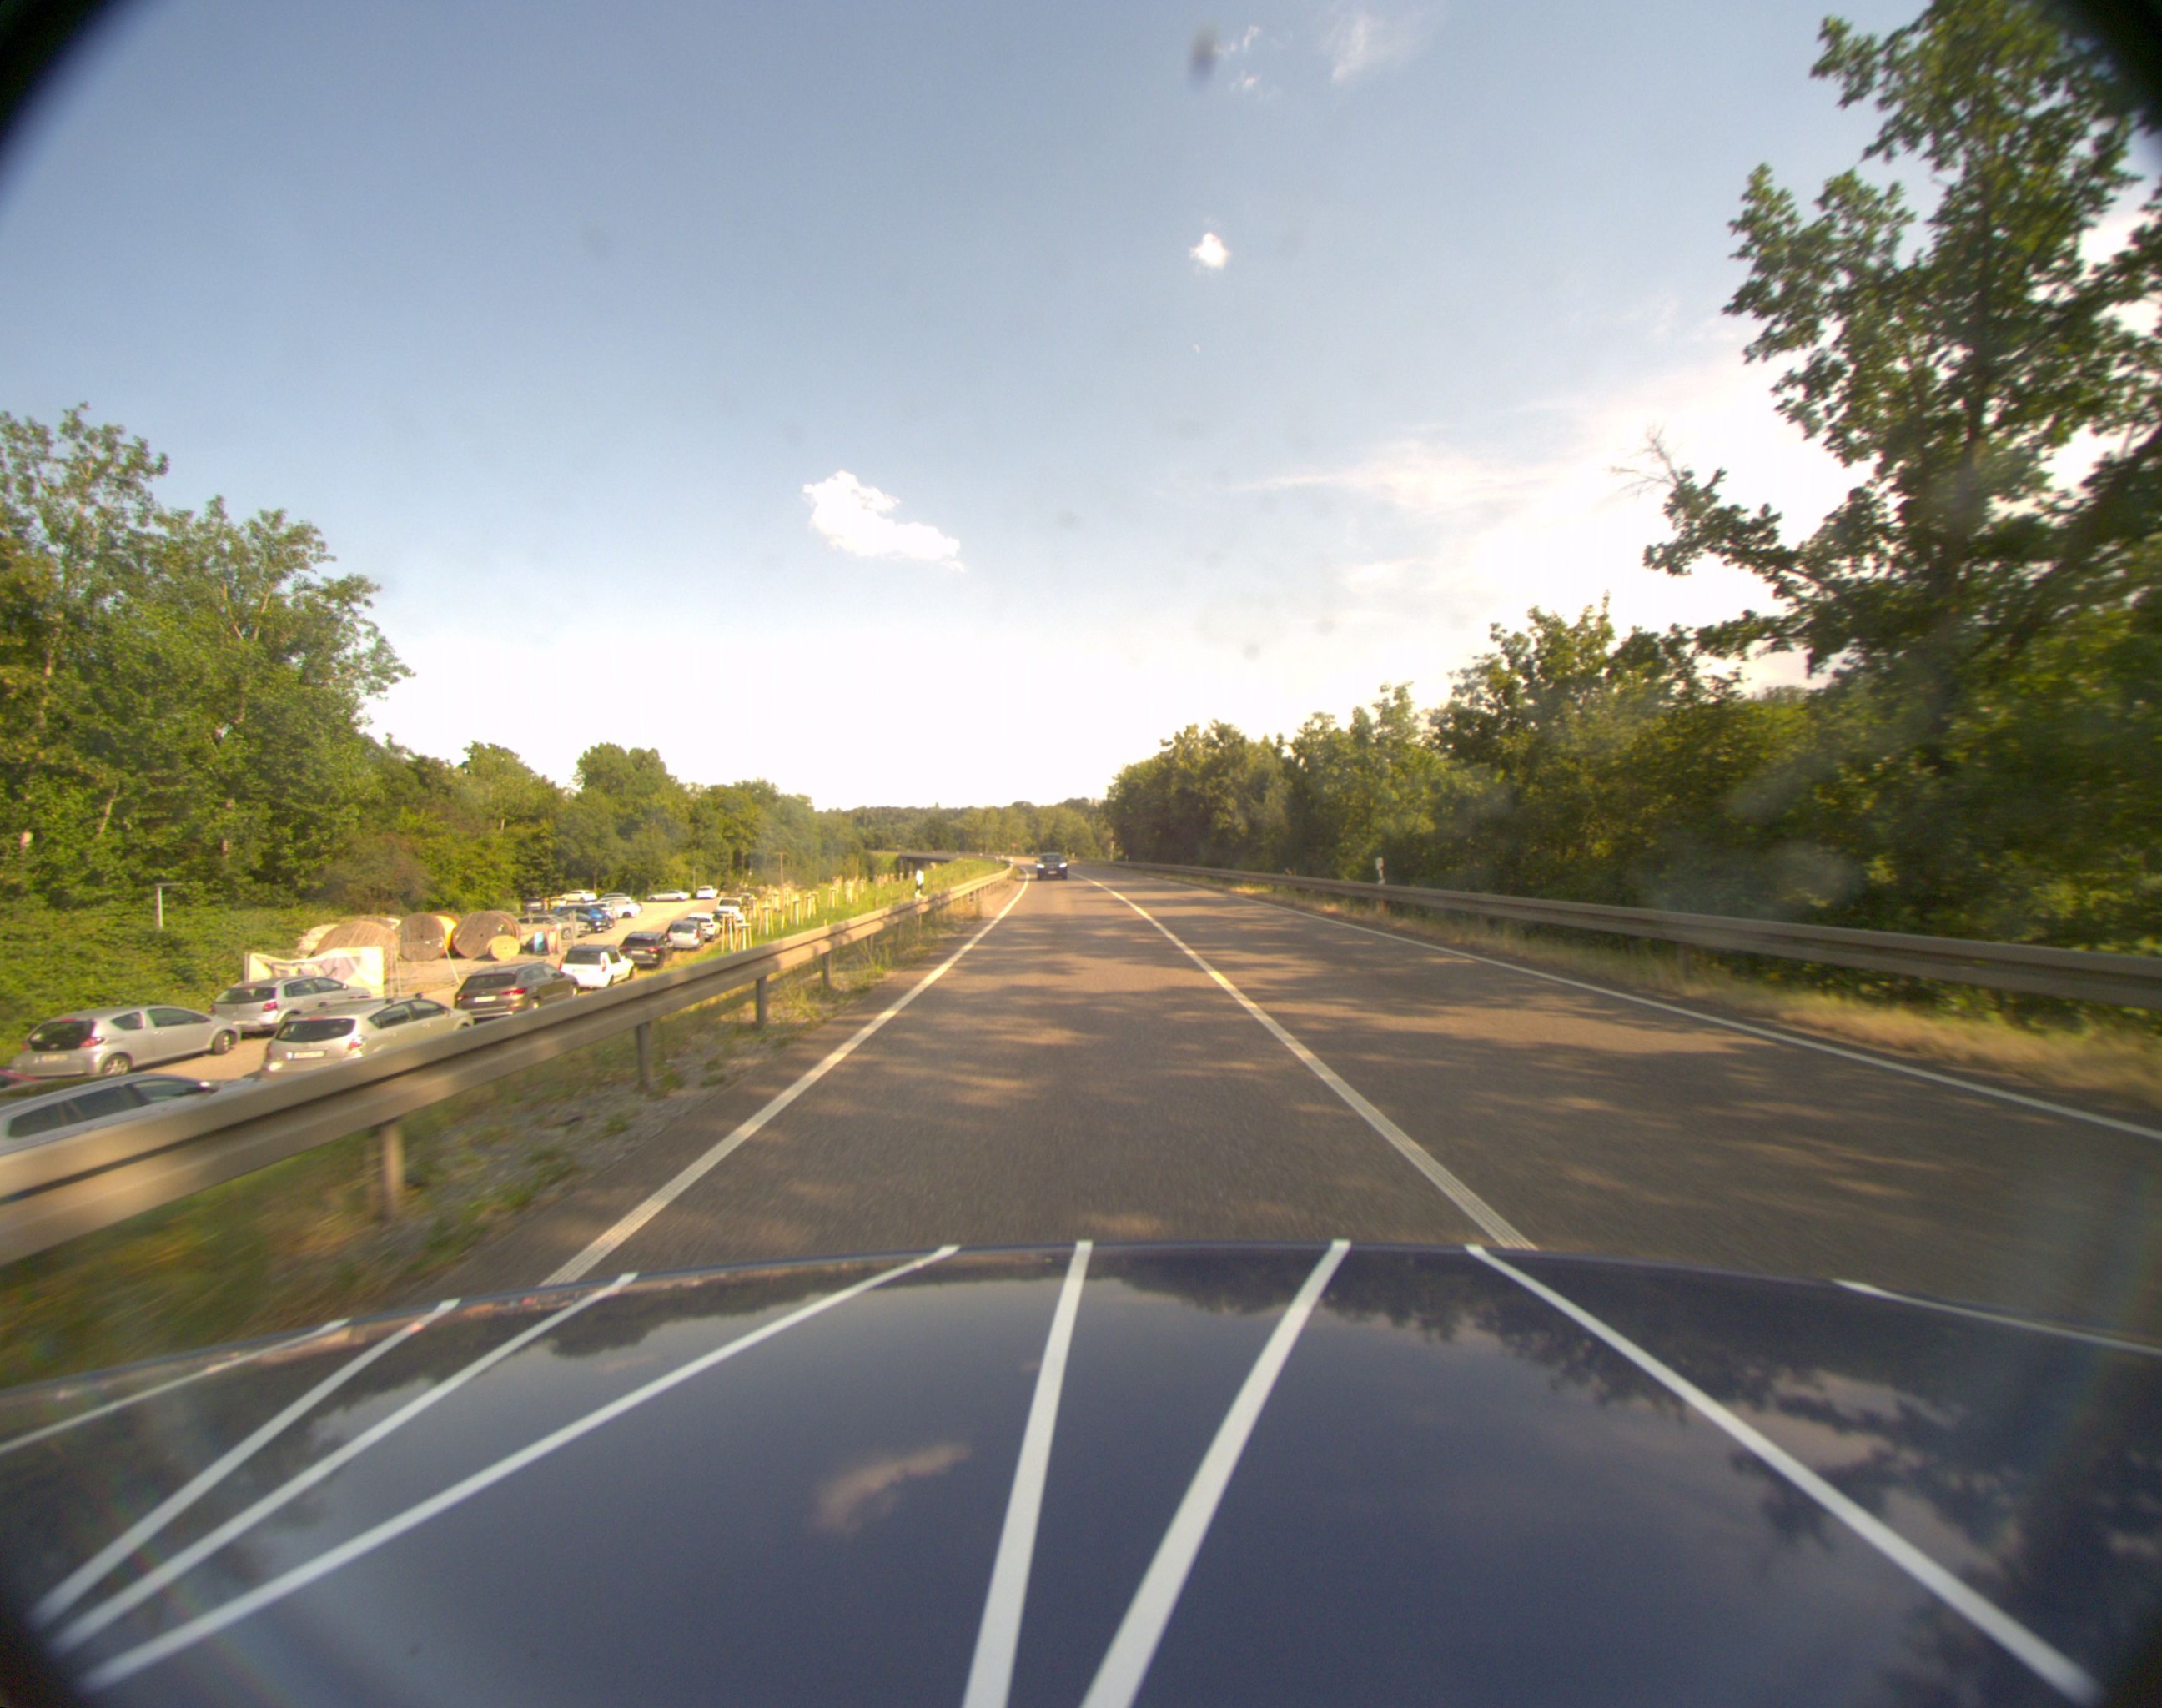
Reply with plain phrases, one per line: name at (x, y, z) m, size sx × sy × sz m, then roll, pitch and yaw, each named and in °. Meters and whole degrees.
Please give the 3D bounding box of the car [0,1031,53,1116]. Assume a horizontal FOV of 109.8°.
car at (-20.557, 4.110, 12.264) m, size 1.706 × 1.390 × 4.782 m, roll 2°, pitch 0°, yaw -5°

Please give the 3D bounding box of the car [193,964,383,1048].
car at (-22.171, 4.182, 21.505) m, size 1.707 × 1.501 × 3.941 m, roll 0°, pitch 0°, yaw -10°

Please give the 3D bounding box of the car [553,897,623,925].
car at (-37.348, 4.315, 57.697) m, size 4.252 × 1.732 × 1.830 m, roll -2°, pitch 0°, yaw -26°

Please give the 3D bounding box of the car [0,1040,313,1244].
car at (-14.326, 3.997, 10.978) m, size 1.898 × 1.550 × 4.780 m, roll 2°, pitch -1°, yaw -6°

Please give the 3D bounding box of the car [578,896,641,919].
car at (-39.230, 4.424, 63.295) m, size 4.252 × 1.489 × 1.768 m, roll -2°, pitch 0°, yaw -26°

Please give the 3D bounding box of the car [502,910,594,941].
car at (-32.665, 4.367, 46.740) m, size 4.251 × 1.481 × 1.830 m, roll -2°, pitch 1°, yaw -20°

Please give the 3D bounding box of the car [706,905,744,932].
car at (-23.783, 4.313, 50.890) m, size 1.900 × 1.473 × 4.774 m, roll 2°, pitch -2°, yaw -21°

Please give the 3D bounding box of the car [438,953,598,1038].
car at (-16.400, 4.046, 22.504) m, size 1.898 × 1.550 × 4.777 m, roll -1°, pitch 0°, yaw -11°

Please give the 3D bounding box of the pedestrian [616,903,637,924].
pedestrian at (-33.914, 4.422, 56.684) m, size 0.920 × 1.462 × 0.889 m, roll 1°, pitch -1°, yaw 13°

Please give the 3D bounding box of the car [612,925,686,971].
car at (-19.431, 4.198, 34.397) m, size 1.900 × 1.550 × 4.775 m, roll 2°, pitch -2°, yaw -17°

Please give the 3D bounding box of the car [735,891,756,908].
car at (-33.165, 4.476, 75.113) m, size 1.826 × 1.473 × 4.386 m, roll 1°, pitch -1°, yaw -25°

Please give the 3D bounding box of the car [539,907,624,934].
car at (-32.543, 4.326, 49.621) m, size 4.246 × 1.480 × 1.833 m, roll -2°, pitch -1°, yaw -6°

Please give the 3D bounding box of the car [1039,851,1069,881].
car at (-1.620, 0.688, 47.364) m, size 1.751 × 1.645 × 4.304 m, roll -1°, pitch 2°, yaw -1°

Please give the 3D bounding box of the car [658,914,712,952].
car at (-20.839, 4.131, 40.132) m, size 1.900 × 1.550 × 4.774 m, roll 2°, pitch -2°, yaw -21°

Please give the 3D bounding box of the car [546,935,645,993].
car at (-18.062, 4.037, 28.527) m, size 1.900 × 1.550 × 4.775 m, roll 2°, pitch -2°, yaw -17°

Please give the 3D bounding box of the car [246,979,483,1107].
car at (-15.477, 3.969, 16.839) m, size 1.899 × 1.550 × 4.775 m, roll -1°, pitch 0°, yaw -17°

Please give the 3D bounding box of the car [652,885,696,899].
car at (-47.297, 4.422, 88.367) m, size 4.251 × 1.447 × 1.615 m, roll 0°, pitch -1°, yaw -21°

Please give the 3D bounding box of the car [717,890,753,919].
car at (-27.030, 3.908, 59.490) m, size 2.128 × 2.005 × 5.370 m, roll 2°, pitch -2°, yaw -21°

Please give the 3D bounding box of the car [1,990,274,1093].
car at (-21.396, 4.195, 17.535) m, size 1.707 × 1.390 × 3.941 m, roll 2°, pitch 0°, yaw -8°

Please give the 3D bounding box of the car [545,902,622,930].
car at (-35.554, 4.400, 54.419) m, size 4.251 × 1.595 × 1.830 m, roll -2°, pitch 1°, yaw -21°

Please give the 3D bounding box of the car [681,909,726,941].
car at (-22.464, 4.188, 45.364) m, size 1.900 × 1.550 × 4.774 m, roll 2°, pitch -2°, yaw -21°

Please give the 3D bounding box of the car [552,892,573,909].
car at (-50.579, 4.522, 74.115) m, size 1.502 × 1.447 × 3.666 m, roll 0°, pitch -1°, yaw -32°

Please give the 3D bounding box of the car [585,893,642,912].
car at (-43.303, 4.455, 70.484) m, size 4.422 × 1.447 × 1.731 m, roll -1°, pitch 0°, yaw -30°

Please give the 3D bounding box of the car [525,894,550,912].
car at (-50.702, 4.525, 70.960) m, size 1.620 × 1.447 × 4.237 m, roll 0°, pitch -1°, yaw -32°

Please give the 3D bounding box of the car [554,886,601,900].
car at (-58.150, 4.499, 87.825) m, size 4.249 × 1.447 × 1.711 m, roll -1°, pitch 0°, yaw -15°

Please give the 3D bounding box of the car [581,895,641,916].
car at (-40.568, 4.440, 65.666) m, size 4.252 × 1.447 × 1.614 m, roll -2°, pitch 1°, yaw -27°

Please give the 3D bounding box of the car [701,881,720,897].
car at (-46.228, 4.375, 94.873) m, size 1.661 × 1.657 × 4.699 m, roll -1°, pitch 1°, yaw -20°

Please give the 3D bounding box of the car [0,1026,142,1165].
car at (-17.154, 3.834, 10.804) m, size 1.898 × 1.677 × 5.082 m, roll 0°, pitch -1°, yaw -10°
